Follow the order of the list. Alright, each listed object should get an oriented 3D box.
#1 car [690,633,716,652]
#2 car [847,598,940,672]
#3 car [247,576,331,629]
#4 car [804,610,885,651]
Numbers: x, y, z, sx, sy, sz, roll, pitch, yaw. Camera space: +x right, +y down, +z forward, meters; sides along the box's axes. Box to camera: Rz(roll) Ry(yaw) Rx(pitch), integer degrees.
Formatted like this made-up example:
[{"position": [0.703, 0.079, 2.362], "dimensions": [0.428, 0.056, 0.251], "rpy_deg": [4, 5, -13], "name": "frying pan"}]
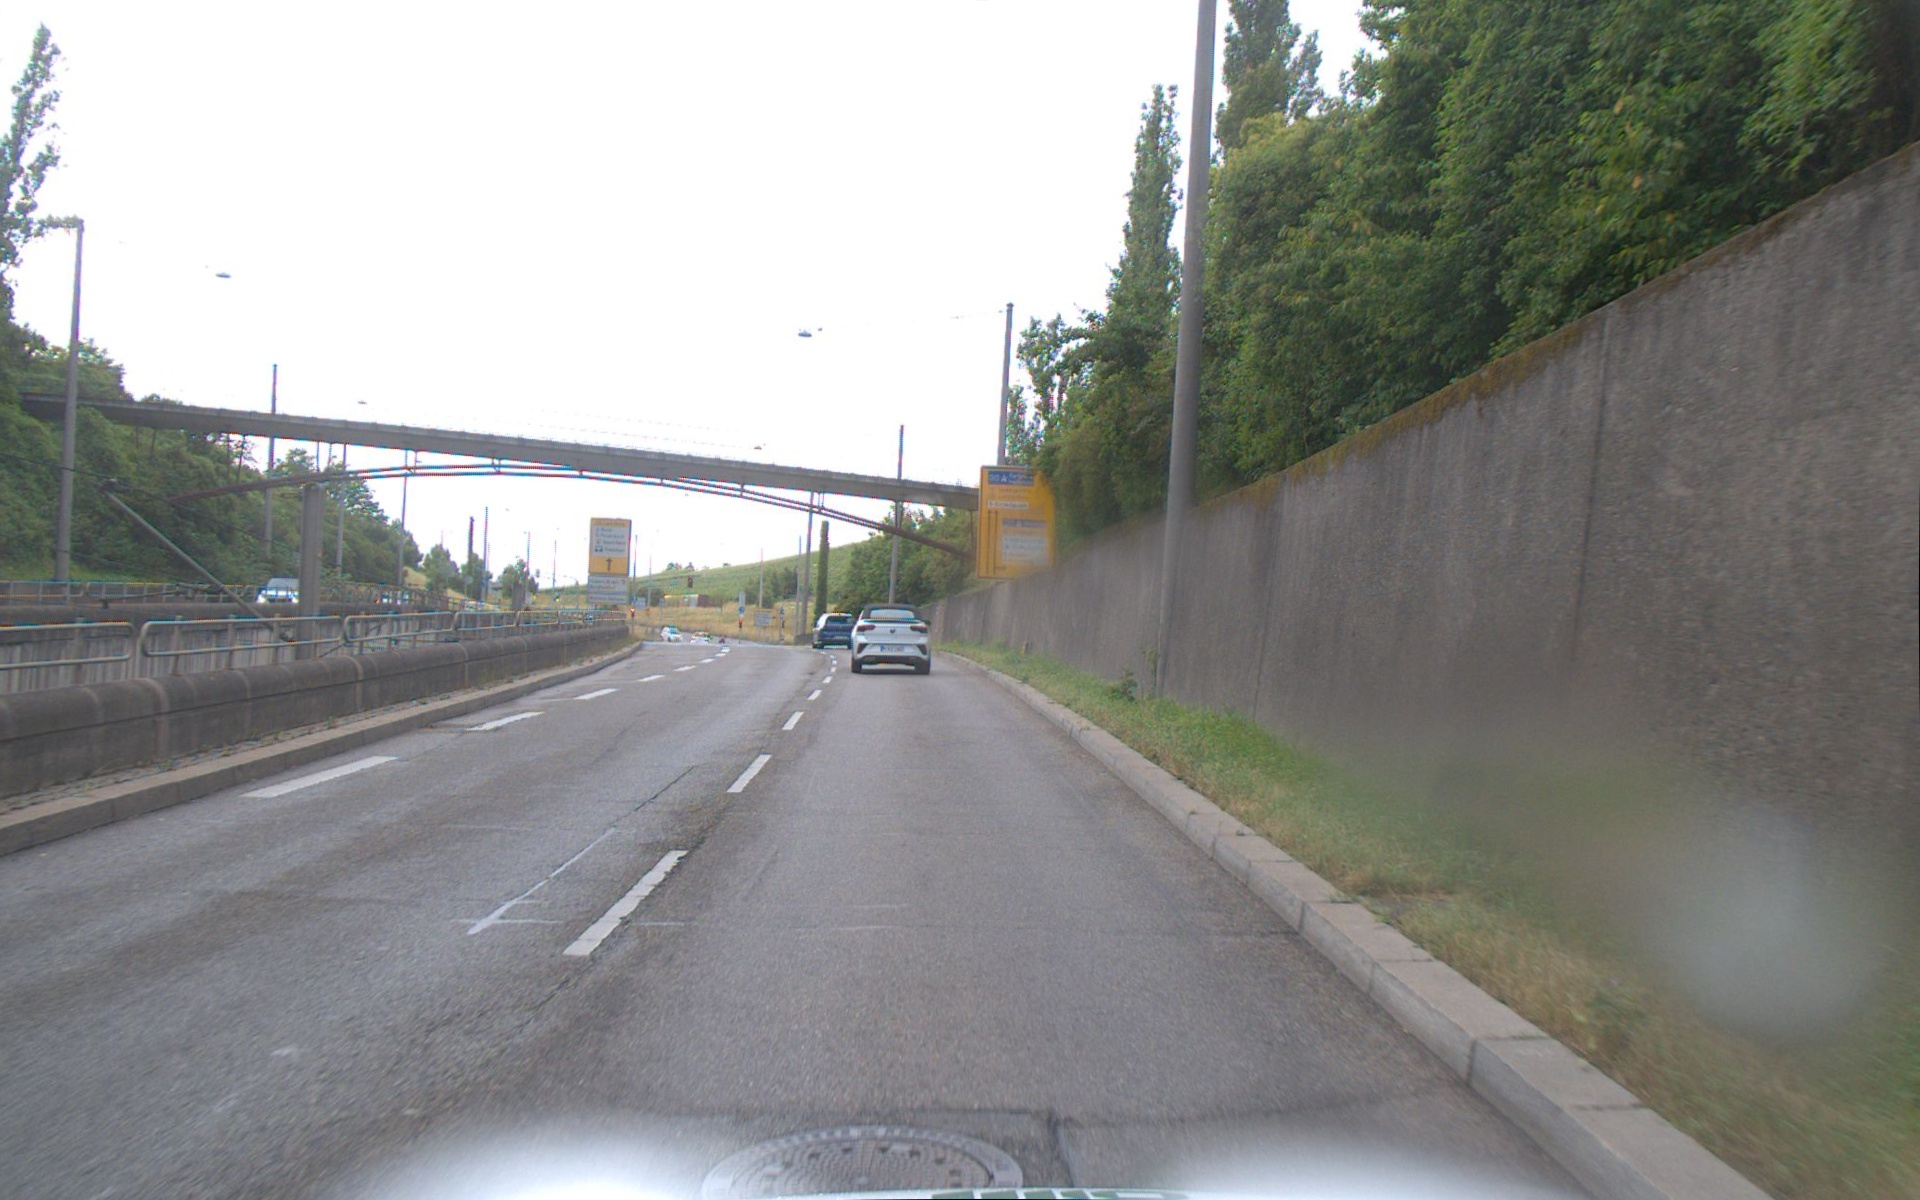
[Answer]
[{"position": [-23.906, 3.967, 154.082], "dimensions": [1.739, 1.545, 3.723], "rpy_deg": [5, -3, 0], "name": "car"}, {"position": [-1.575, 0.766, 37.905], "dimensions": [1.957, 1.606, 4.121], "rpy_deg": [0, 0, -5], "name": "car"}, {"position": [-23.793, 0.105, 58.751], "dimensions": [1.925, 1.780, 4.131], "rpy_deg": [0, -1, -10], "name": "car"}, {"position": [-4.791, 1.241, 69.230], "dimensions": [1.886, 1.627, 4.062], "rpy_deg": [0, 0, 21], "name": "car"}]
